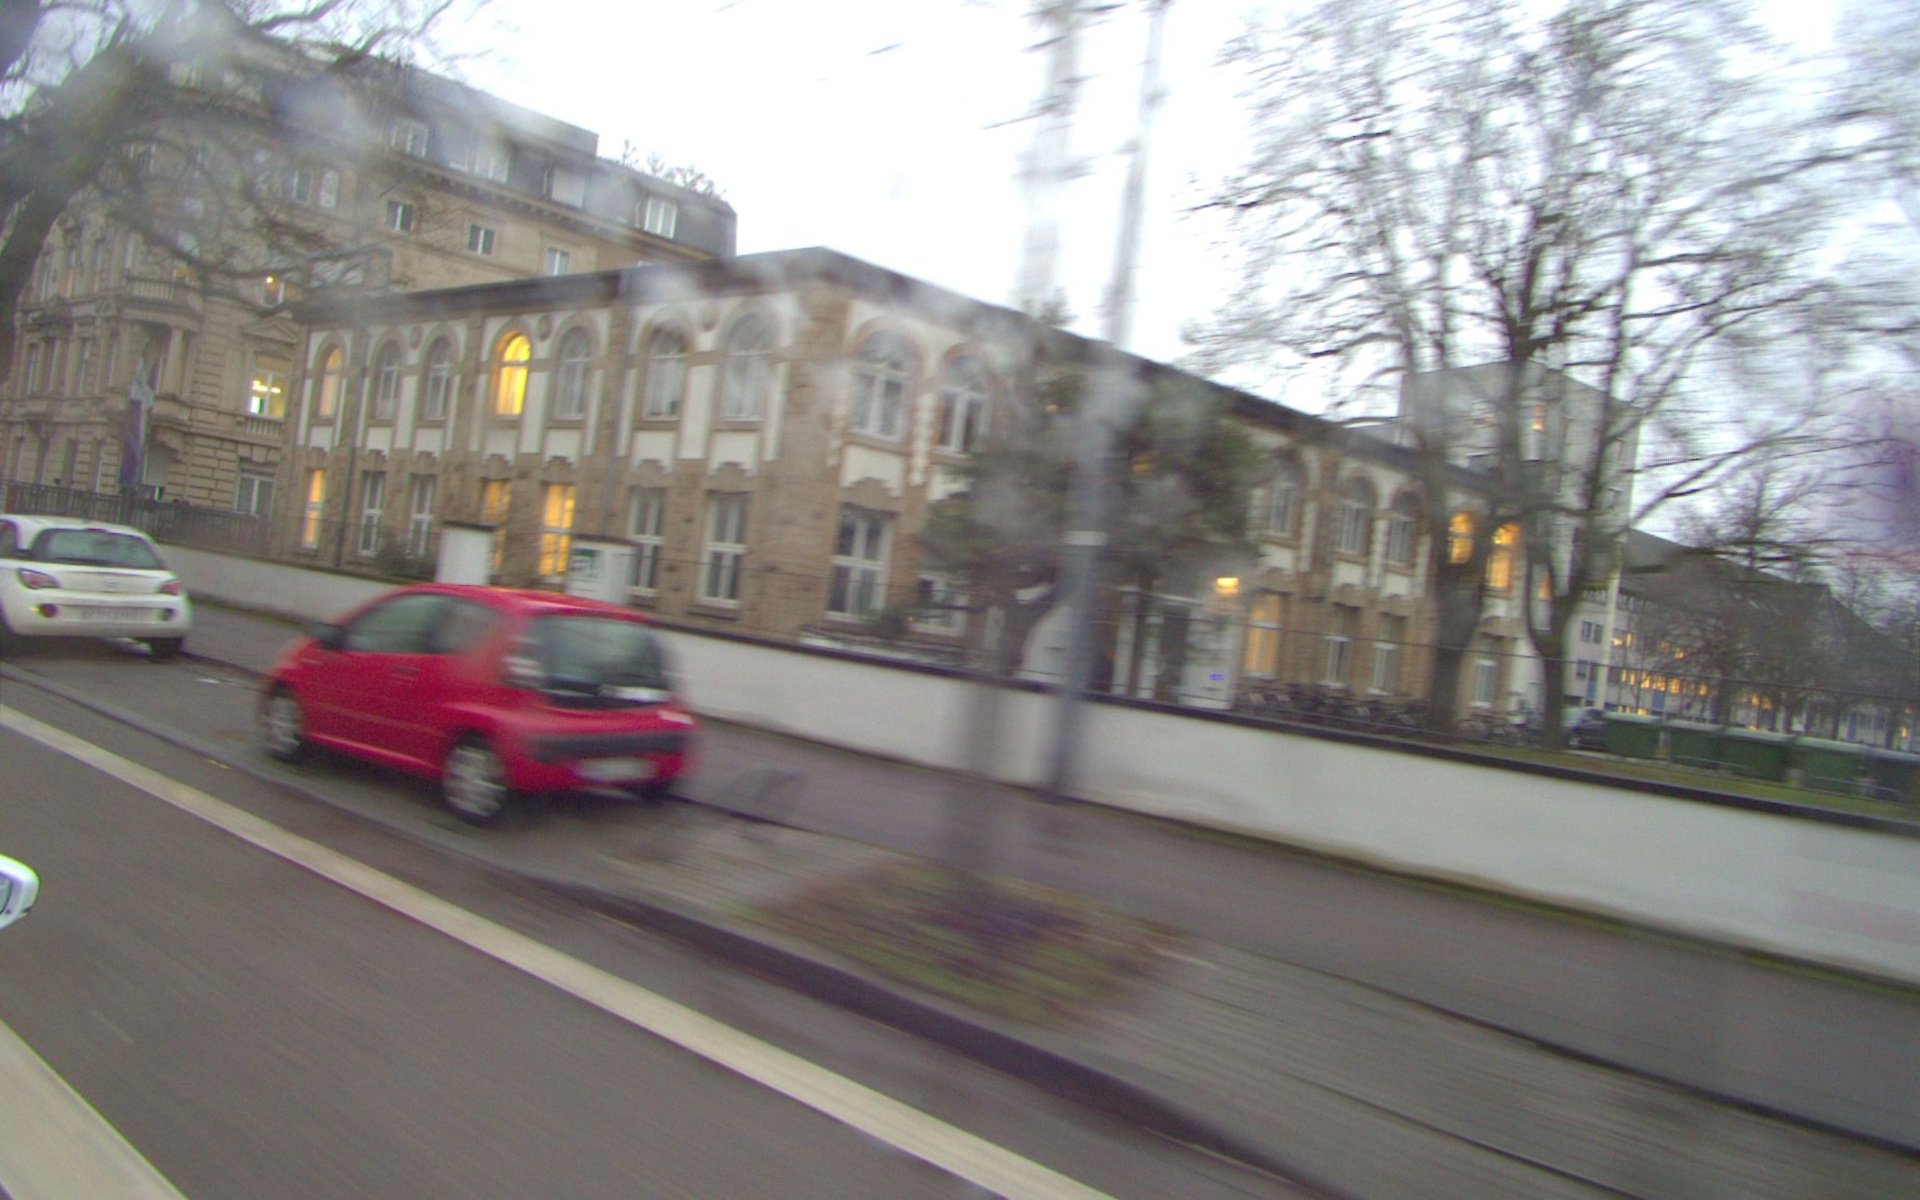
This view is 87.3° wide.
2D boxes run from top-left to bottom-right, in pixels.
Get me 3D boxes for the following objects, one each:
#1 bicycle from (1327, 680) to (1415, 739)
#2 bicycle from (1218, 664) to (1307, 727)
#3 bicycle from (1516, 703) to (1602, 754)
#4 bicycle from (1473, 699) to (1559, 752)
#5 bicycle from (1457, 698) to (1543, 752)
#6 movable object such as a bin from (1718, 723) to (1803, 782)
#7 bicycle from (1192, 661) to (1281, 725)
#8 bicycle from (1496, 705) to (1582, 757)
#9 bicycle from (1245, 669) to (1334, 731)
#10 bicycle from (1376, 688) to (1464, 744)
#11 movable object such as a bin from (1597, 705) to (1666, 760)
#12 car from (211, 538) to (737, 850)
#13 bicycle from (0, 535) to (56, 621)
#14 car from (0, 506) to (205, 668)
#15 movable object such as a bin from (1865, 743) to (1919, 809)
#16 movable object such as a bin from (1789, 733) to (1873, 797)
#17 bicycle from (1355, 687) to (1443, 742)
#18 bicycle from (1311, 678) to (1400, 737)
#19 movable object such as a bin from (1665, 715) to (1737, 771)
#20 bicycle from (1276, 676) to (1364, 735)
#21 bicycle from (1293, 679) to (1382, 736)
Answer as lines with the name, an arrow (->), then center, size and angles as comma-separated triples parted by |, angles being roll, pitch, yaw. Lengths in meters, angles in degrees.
bicycle -> 10.514, 2.800, 25.829 | 0.566, 1.171, 2.127 | 7, 0, -27
bicycle -> 7.066, 2.222, 23.628 | 0.566, 1.171, 2.127 | 7, 0, -27
bicycle -> 17.928, 3.839, 30.180 | 0.566, 1.171, 2.127 | 7, 0, -27
bicycle -> 16.192, 3.638, 29.338 | 0.566, 1.171, 2.127 | 7, 0, -27
bicycle -> 15.454, 3.560, 28.861 | 0.566, 1.171, 2.127 | 7, 0, -27
movable object such as a bin -> 21.074, 4.008, 26.485 | 0.979, 1.240, 1.425 | 8, 0, -35
bicycle -> 6.340, 2.114, 23.185 | 0.566, 1.171, 2.127 | 7, 0, -27
bicycle -> 17.069, 3.849, 29.714 | 0.566, 1.171, 2.127 | 7, 0, -27
bicycle -> 7.854, 2.372, 24.082 | 0.566, 1.171, 2.127 | 7, 0, -27
bicycle -> 12.297, 3.087, 26.969 | 0.566, 1.124, 2.127 | 7, 0, -27
movable object such as a bin -> 19.273, 3.808, 28.873 | 0.979, 1.330, 1.252 | 8, 0, -35
car -> -3.628, 0.575, 7.438 | 3.511, 1.541, 1.647 | 7, -1, 29
bicycle -> -13.200, -0.354, 13.257 | 0.652, 1.084, 1.715 | 8, 0, 31
car -> -10.760, -0.239, 11.805 | 3.576, 1.538, 1.694 | 7, 0, 31
movable object such as a bin -> 22.634, 4.227, 24.071 | 1.305, 1.333, 1.058 | 9, 1, 42
movable object such as a bin -> 21.844, 4.140, 25.241 | 0.979, 1.330, 1.295 | 8, 0, -35
bicycle -> 11.535, 2.986, 26.493 | 0.566, 1.105, 2.127 | 7, 0, -27
bicycle -> 9.991, 2.703, 25.521 | 0.566, 1.171, 2.127 | 7, 0, -27
movable object such as a bin -> 20.451, 3.945, 27.769 | 0.979, 1.295, 1.240 | 8, 0, -35
bicycle -> 8.868, 2.591, 24.885 | 0.566, 1.063, 2.126 | 7, 1, -27
bicycle -> 9.418, 2.680, 25.213 | 0.566, 1.030, 2.125 | 7, 2, -27
